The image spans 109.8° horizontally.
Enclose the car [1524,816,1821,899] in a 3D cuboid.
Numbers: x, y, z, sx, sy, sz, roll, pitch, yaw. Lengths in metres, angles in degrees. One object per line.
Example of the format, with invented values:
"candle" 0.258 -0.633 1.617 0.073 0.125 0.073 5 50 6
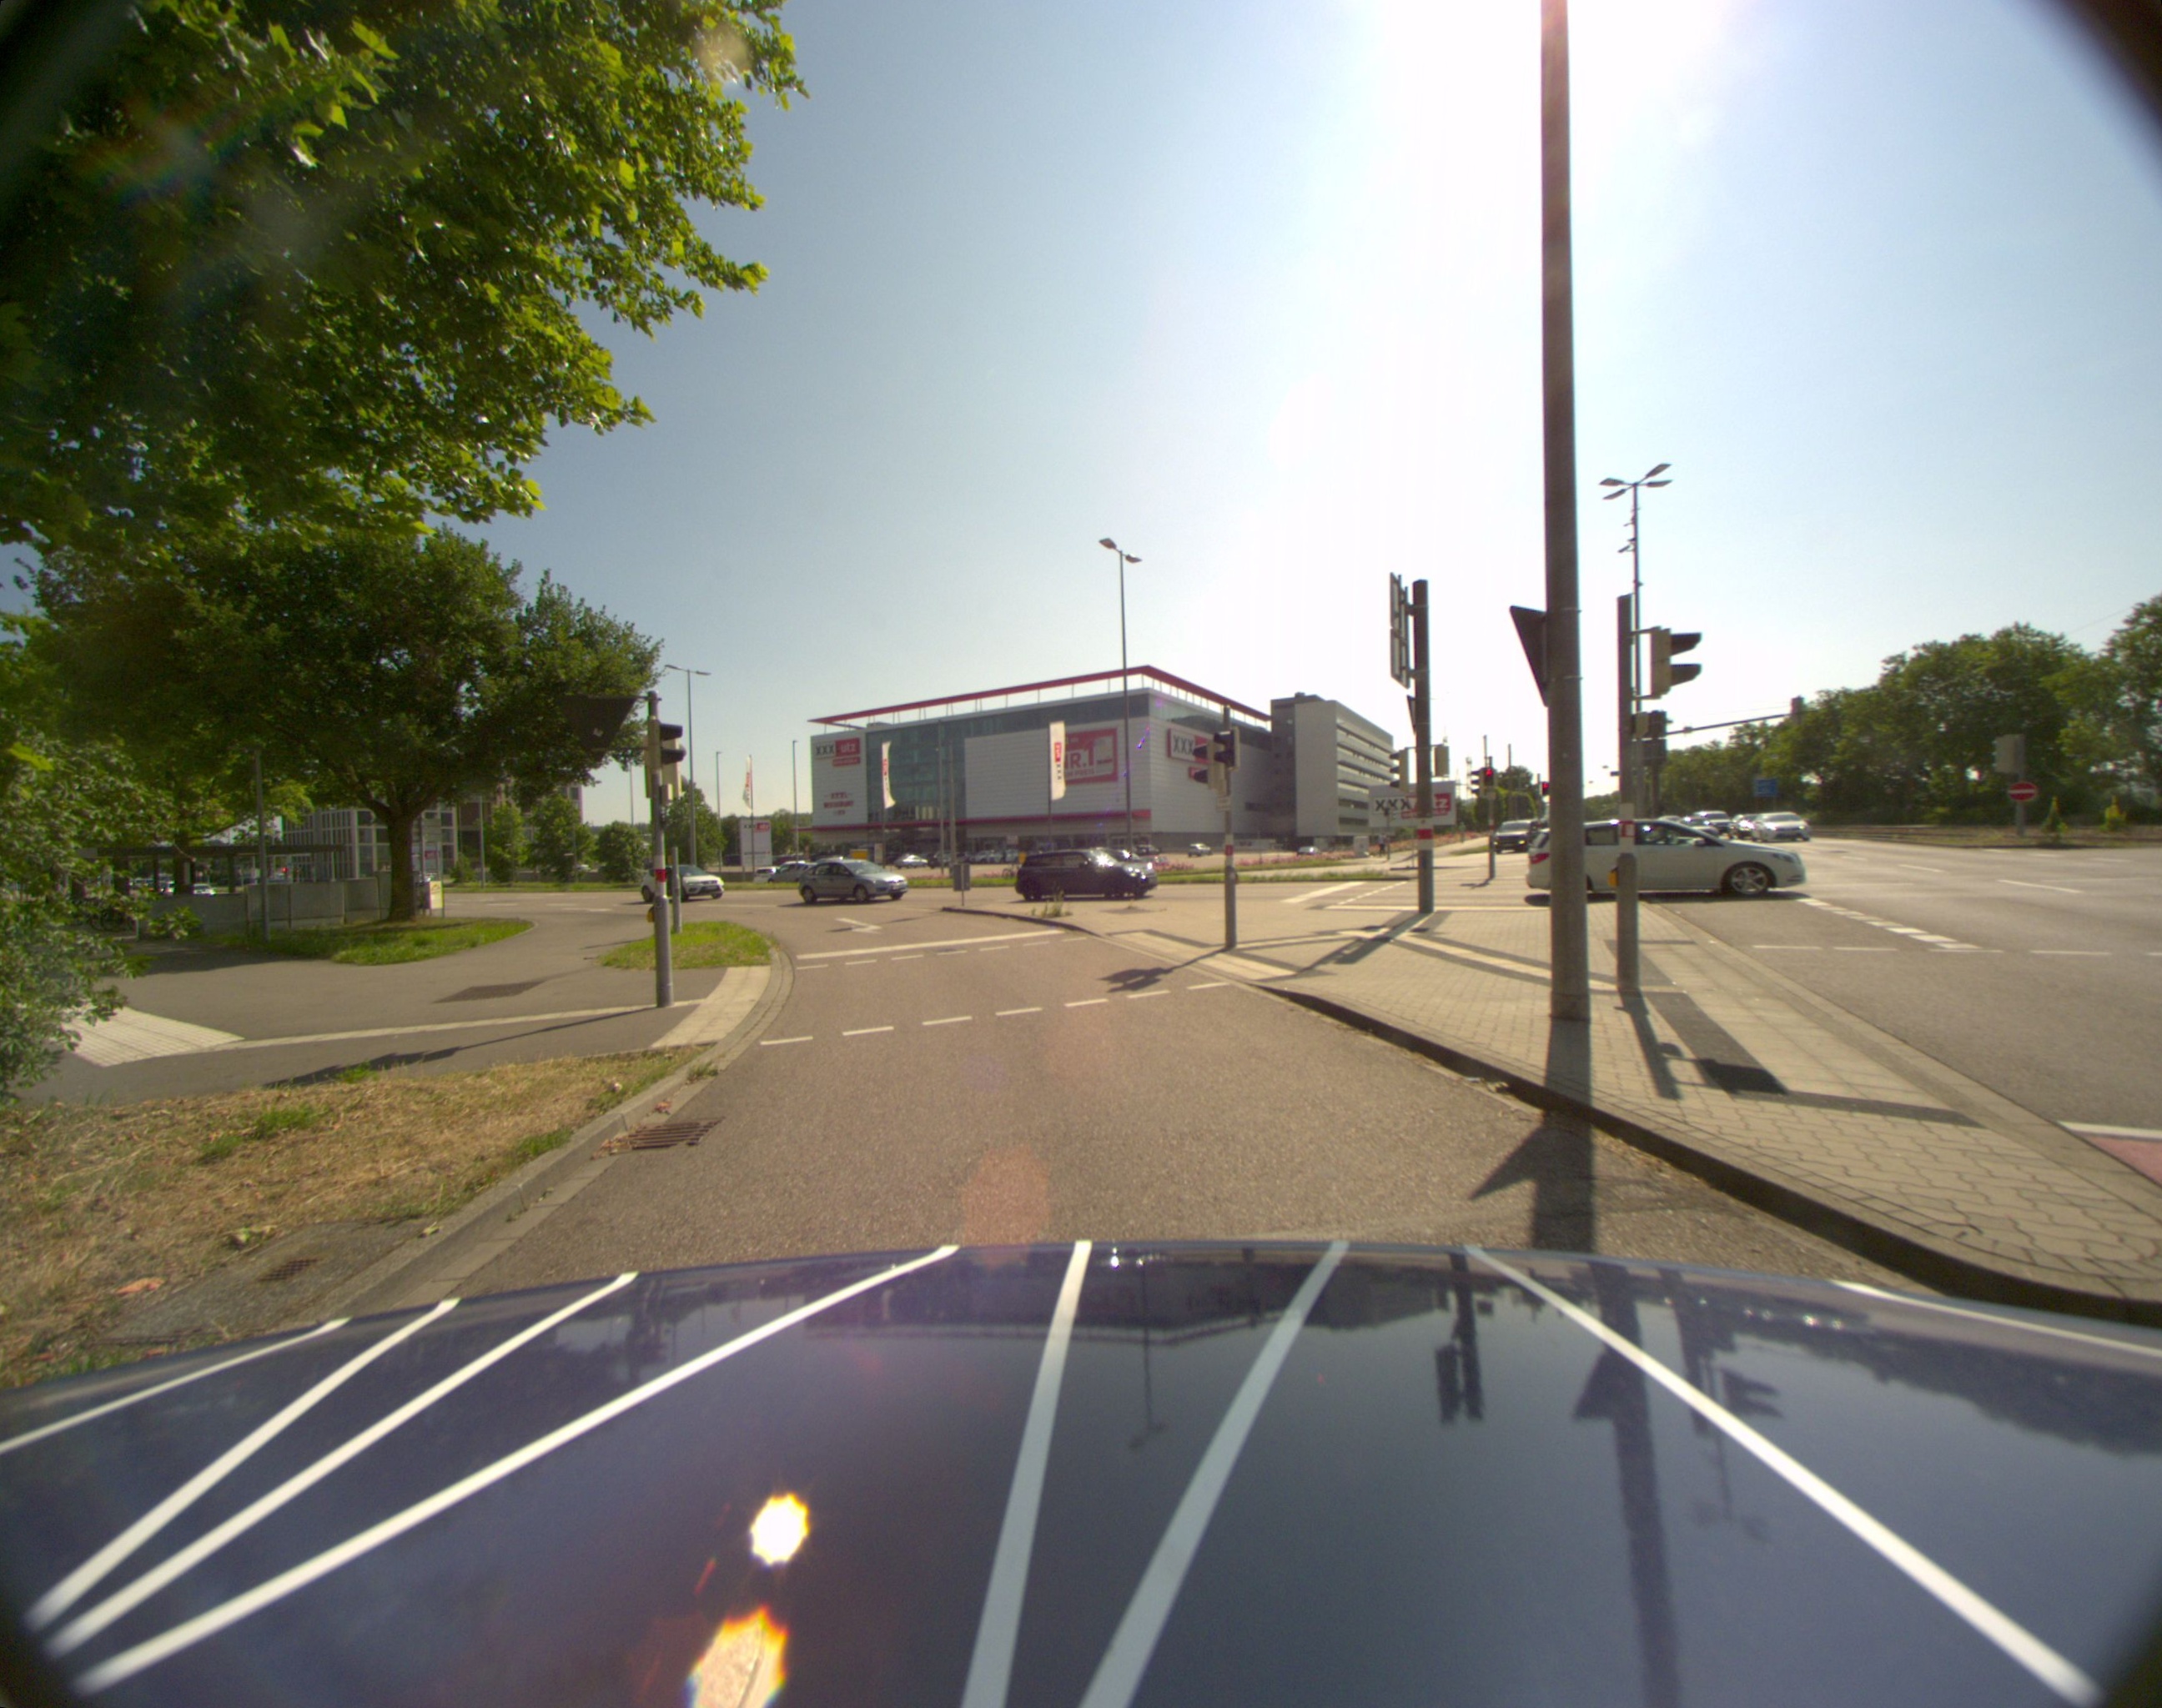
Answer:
"car" 11.267 0.085 14.926 4.377 1.440 1.750 -2 2 31

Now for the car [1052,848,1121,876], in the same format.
"car" 0.208 0.329 29.934 2.485 0.998 1.123 -2 1 34

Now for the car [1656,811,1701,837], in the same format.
"car" 38.704 -1.920 49.275 1.757 1.512 4.007 -2 0 31

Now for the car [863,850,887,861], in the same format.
"car" -29.354 0.206 108.134 1.511 1.322 3.103 0 2 31

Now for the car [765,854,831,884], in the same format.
"car" -17.242 0.920 46.212 3.906 1.615 1.635 -3 1 32

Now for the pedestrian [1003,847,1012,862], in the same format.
"pedestrian" -9.116 0.114 94.278 0.750 1.847 0.858 -1 1 32

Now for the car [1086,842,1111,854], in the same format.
"car" 2.126 -0.717 93.405 1.774 1.322 3.103 0 2 31

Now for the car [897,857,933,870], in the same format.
"car" -19.706 1.092 90.244 1.511 1.322 4.511 0 2 31

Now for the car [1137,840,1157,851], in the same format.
"car" 8.994 -1.146 103.477 1.511 1.322 3.103 0 2 31

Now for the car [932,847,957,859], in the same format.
"car" -19.770 -0.134 110.068 1.659 1.621 3.578 -2 1 27

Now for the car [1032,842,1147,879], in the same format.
"car" 0.399 0.289 34.855 4.803 1.494 2.069 -2 1 24

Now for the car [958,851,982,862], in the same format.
"car" -14.506 0.381 99.288 1.511 1.322 3.103 0 2 31

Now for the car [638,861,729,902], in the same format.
"car" -17.007 1.205 32.440 3.860 1.489 1.639 -4 1 33

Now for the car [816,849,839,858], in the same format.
"car" -38.199 -0.083 114.511 1.511 1.322 3.103 0 2 31

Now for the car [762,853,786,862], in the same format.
"car" -48.390 0.582 119.791 1.511 1.322 3.230 0 2 31

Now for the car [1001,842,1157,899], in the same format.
"car" -0.094 0.488 22.174 4.189 1.503 1.746 -2 1 32

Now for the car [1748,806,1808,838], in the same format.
"car" 34.925 -1.582 38.157 1.406 1.491 3.359 0 2 28

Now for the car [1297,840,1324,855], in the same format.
"car" 22.888 -0.675 75.693 1.724 1.322 3.866 0 2 31

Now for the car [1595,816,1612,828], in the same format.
"car" 73.037 -4.439 106.277 1.628 1.615 3.792 -2 1 30

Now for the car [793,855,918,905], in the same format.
"car" -7.907 0.905 26.579 4.163 1.564 1.714 -2 2 30

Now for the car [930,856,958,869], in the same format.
"car" -15.778 0.928 87.519 1.511 1.322 3.103 0 2 31

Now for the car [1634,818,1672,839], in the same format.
"car" 44.239 -1.989 58.828 1.903 1.563 3.843 0 2 31

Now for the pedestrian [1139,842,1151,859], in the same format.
"pedestrian" 8.064 -0.430 95.746 0.973 2.002 0.951 -2 1 33

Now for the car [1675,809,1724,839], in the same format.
"car" 32.141 -1.552 39.567 1.406 1.491 3.402 0 2 30

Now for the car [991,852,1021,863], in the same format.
"car" -9.535 0.452 97.240 1.511 1.322 4.322 0 2 31

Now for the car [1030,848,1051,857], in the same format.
"car" -5.889 -0.249 111.239 1.511 1.218 3.103 0 2 31

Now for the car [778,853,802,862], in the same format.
"car" -45.635 0.518 119.095 1.511 1.322 3.230 0 2 31

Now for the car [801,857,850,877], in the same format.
"car" -25.837 1.264 76.937 1.940 1.832 4.435 0 1 31

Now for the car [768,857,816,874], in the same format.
"car" -30.214 1.221 79.535 1.866 1.618 4.434 -1 1 30

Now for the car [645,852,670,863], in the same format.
"car" -66.238 0.499 118.904 1.769 1.547 2.781 -2 1 31

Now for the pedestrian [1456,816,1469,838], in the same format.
"pedestrian" 33.373 -2.351 66.403 0.915 1.961 0.719 1 3 36

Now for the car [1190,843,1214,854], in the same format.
"car" 15.751 -0.775 98.803 1.747 1.322 3.680 0 2 31

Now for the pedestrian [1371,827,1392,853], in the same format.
"pedestrian" 19.477 -0.909 49.243 0.907 1.697 0.840 -2 1 -36

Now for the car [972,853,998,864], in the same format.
"car" -12.329 0.568 97.900 1.585 1.322 3.421 -2 1 29

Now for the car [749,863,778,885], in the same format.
"car" -24.408 1.504 58.325 1.802 1.538 4.077 -3 2 -26

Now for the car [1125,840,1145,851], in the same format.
"car" 7.533 -1.182 105.032 1.511 1.322 3.103 0 2 31

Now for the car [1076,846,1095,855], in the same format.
"car" 0.642 -0.494 107.644 1.362 1.260 3.103 0 2 31

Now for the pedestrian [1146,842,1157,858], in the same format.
"pedestrian" 8.984 -0.541 96.846 0.973 2.002 0.951 -1 1 33

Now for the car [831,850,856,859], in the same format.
"car" -35.380 0.087 113.114 1.699 1.322 3.103 0 2 31

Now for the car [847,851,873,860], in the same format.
"car" -31.844 0.182 109.748 1.476 1.192 3.516 0 2 31

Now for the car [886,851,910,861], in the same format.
"car" -25.492 0.247 105.811 1.511 1.286 3.103 0 2 31

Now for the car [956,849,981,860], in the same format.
"car" -14.708 0.095 99.429 1.511 1.322 3.103 0 2 31

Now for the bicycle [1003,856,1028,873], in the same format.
"bicycle" -4.082 0.632 47.124 1.639 1.017 0.332 1 1 28

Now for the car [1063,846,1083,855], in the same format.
"car" -1.146 -0.519 109.655 1.511 1.322 3.103 0 2 31

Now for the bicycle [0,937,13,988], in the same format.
"bicycle" -19.163 1.903 12.483 0.432 0.838 1.838 -1 1 34

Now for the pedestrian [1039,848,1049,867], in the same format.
"pedestrian" -3.691 0.380 75.855 0.785 1.884 0.497 -2 0 -28
